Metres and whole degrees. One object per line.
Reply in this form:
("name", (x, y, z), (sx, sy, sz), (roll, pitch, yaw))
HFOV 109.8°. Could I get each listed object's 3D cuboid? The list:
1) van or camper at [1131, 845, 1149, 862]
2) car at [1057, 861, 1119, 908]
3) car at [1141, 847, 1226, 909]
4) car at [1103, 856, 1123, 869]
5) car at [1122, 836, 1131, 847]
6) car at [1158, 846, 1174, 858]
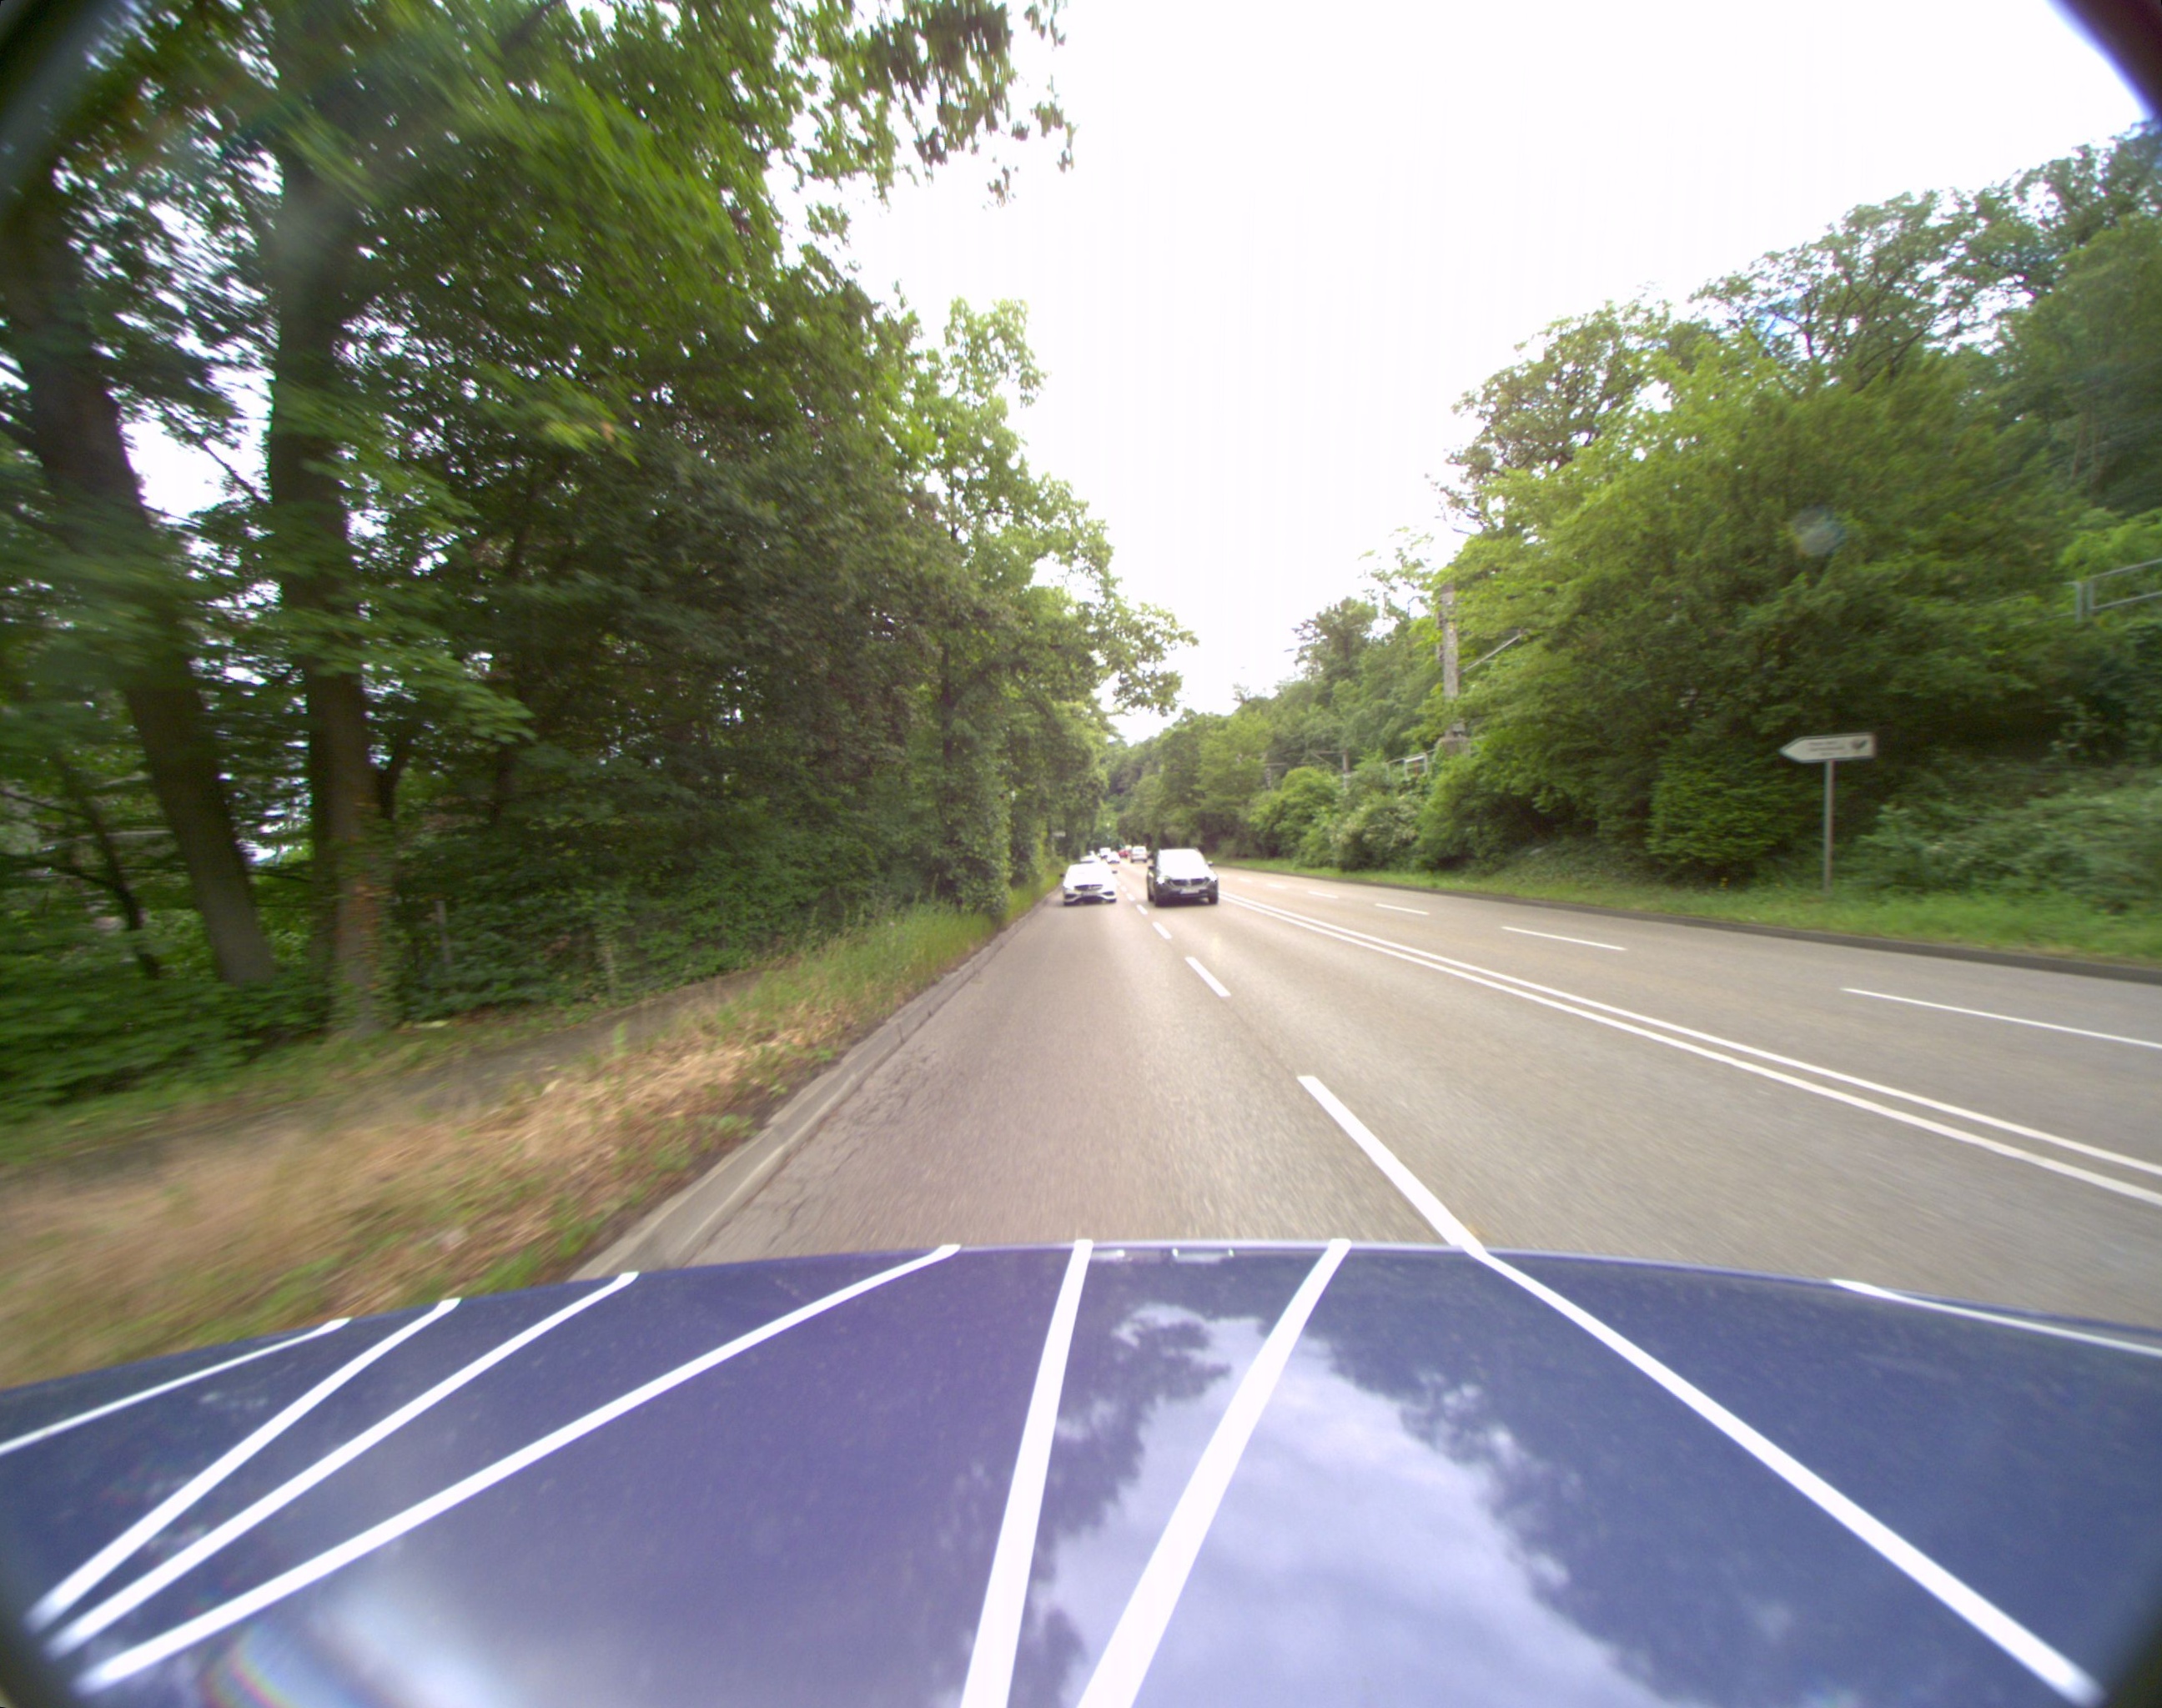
("van or camper", (7.290, -0.080, 94.382), (1.998, 2.002, 5.368), (1, 1, 1))
("car", (0.241, 1.008, 26.776), (1.897, 1.289, 4.327), (-5, 1, 1))
("car", (3.050, 0.649, 23.380), (1.871, 1.653, 4.191), (-2, 1, -2))
("car", (4.129, 1.079, 98.610), (1.699, 1.573, 3.996), (-5, 1, -10))
("car", (10.711, -2.881, 180.598), (1.892, 2.541, 4.914), (-2, 1, 1))
("car", (10.438, -0.264, 93.587), (1.646, 1.305, 4.000), (-2, 1, 1))
